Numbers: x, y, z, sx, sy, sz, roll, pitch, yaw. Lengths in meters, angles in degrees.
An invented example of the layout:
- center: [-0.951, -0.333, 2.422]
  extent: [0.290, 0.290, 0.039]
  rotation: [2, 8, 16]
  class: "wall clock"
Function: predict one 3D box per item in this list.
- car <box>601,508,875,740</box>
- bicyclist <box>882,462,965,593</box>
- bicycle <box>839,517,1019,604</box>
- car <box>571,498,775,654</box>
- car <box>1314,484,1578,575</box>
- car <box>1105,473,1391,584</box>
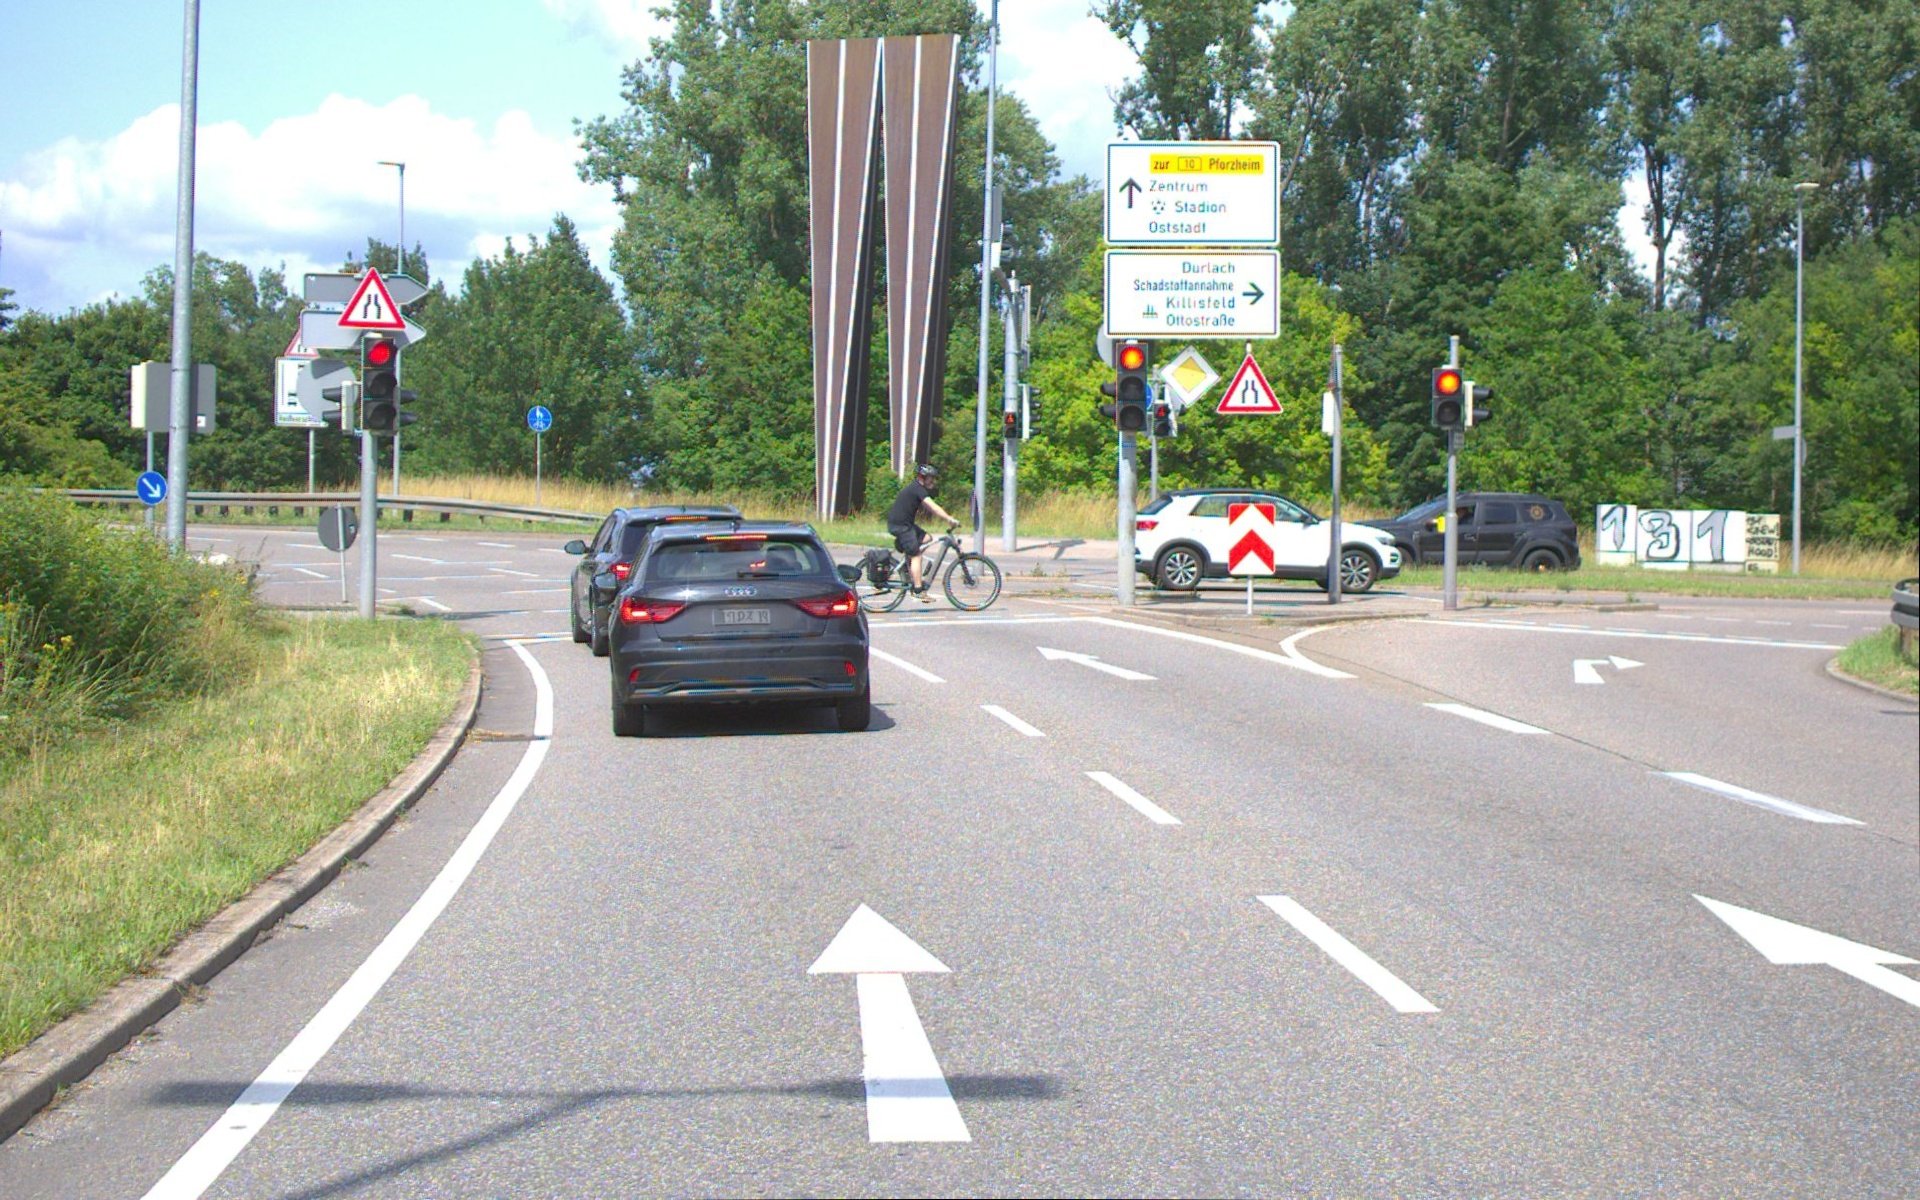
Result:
- center: [-1.595, 0.099, 24.121]
  extent: [1.726, 1.399, 4.001]
  rotation: [-2, 2, -5]
  class: "car"
- center: [-0.440, -0.872, 41.435]
  extent: [0.834, 1.555, 0.672]
  rotation: [0, 1, -16]
  class: "bicyclist"
- center: [-0.380, -0.472, 41.453]
  extent: [2.052, 1.020, 0.672]
  rotation: [0, 1, -16]
  class: "bicycle"
- center: [-2.957, -0.286, 34.812]
  extent: [1.726, 1.418, 3.846]
  rotation: [-2, 2, -9]
  class: "car"
- center: [8.498, -1.243, 60.315]
  extent: [4.267, 1.539, 1.737]
  rotation: [0, 2, -6]
  class: "car"
- center: [4.312, -1.085, 51.806]
  extent: [4.033, 1.471, 1.737]
  rotation: [2, 1, -3]
  class: "car"
